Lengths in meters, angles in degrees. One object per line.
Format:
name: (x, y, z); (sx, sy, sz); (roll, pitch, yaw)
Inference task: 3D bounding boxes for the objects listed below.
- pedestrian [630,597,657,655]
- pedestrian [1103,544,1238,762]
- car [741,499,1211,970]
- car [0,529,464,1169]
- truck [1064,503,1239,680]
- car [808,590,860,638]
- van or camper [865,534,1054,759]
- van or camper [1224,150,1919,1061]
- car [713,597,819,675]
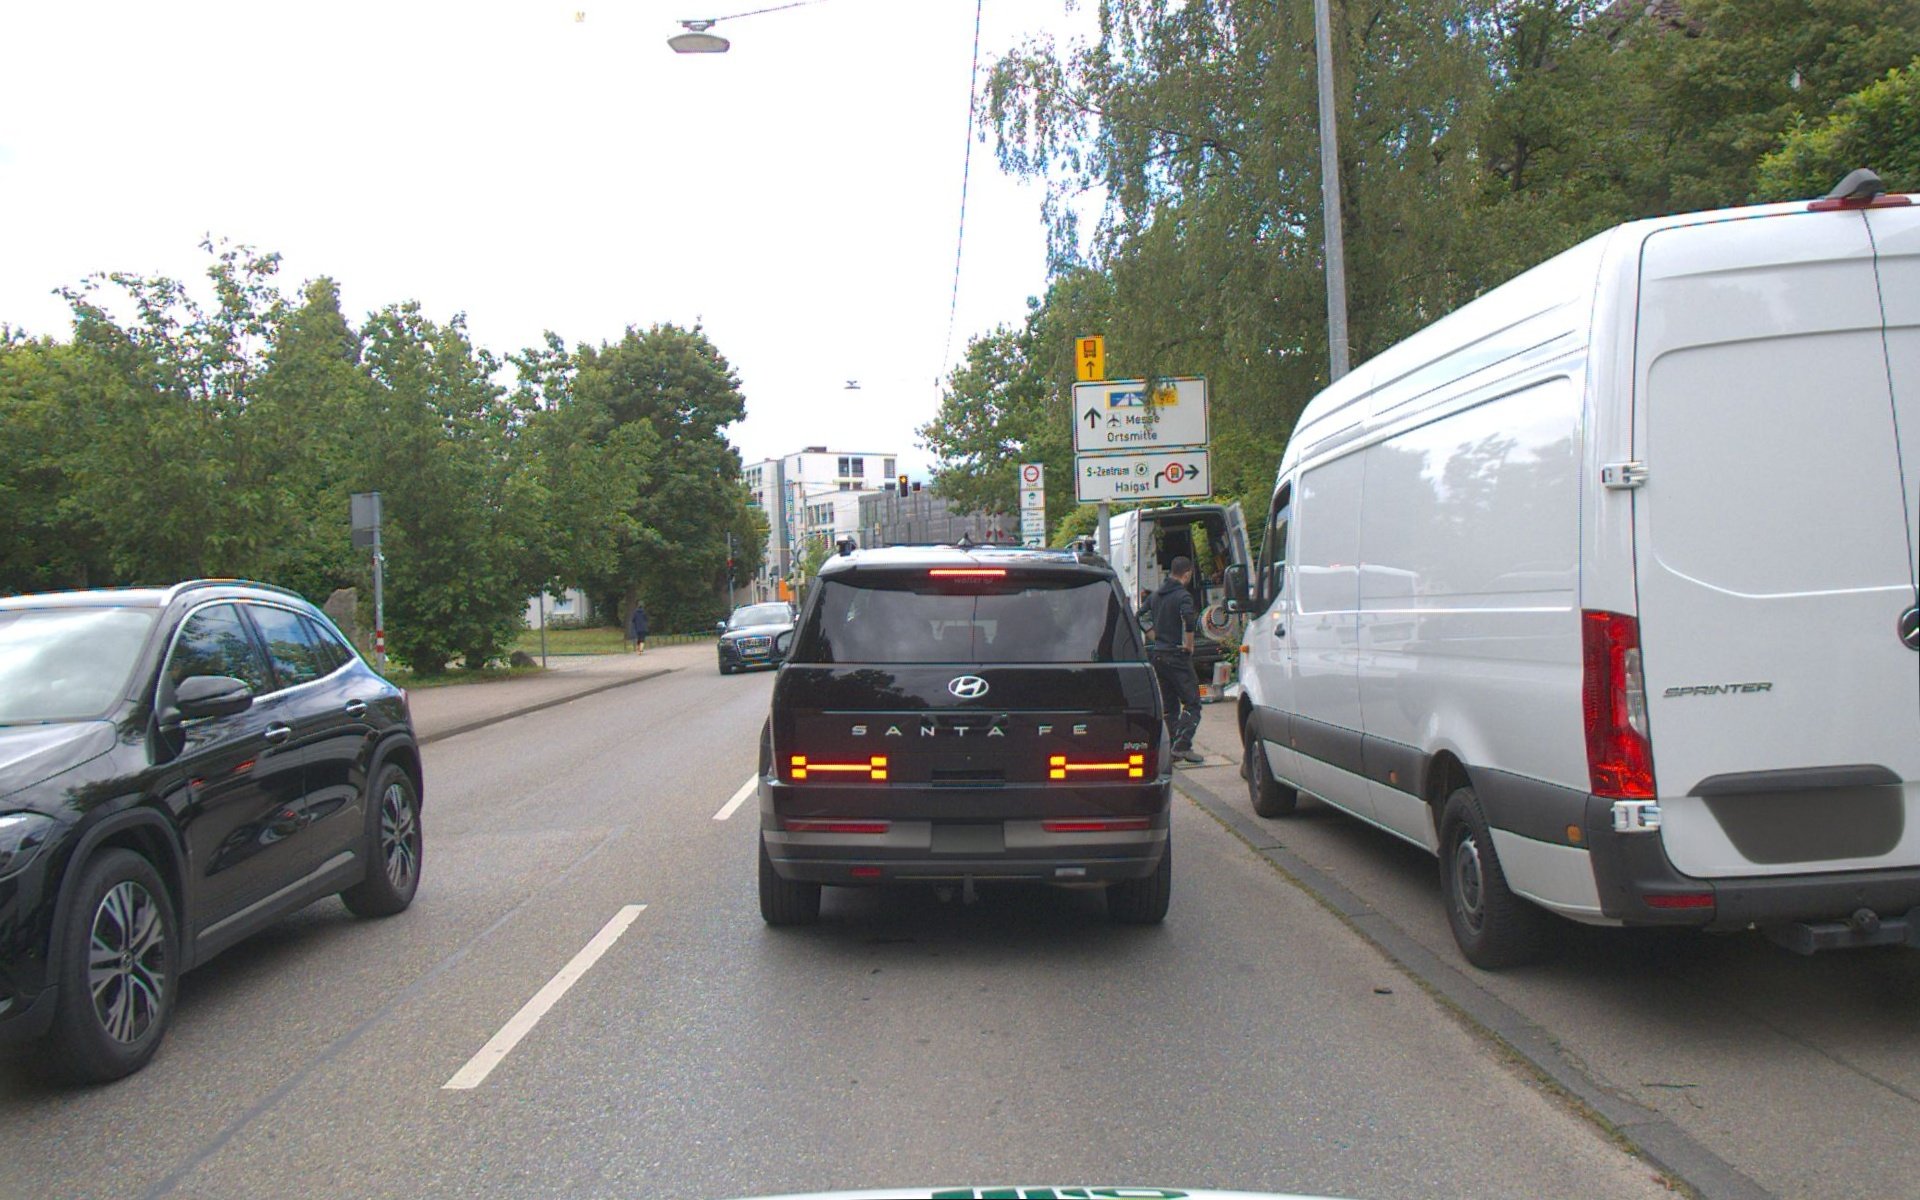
pedestrian: (-9.682, 0.794, 50.567); (0.724, 1.745, 0.791); (-2, 0, -8)
pedestrian: (1.838, 0.441, 14.463); (0.865, 1.828, 0.748); (-2, 0, -41)
car: (0.037, 0.520, 8.536); (1.851, 1.851, 3.999); (0, 0, -1)
car: (-3.506, 0.708, 6.390); (1.822, 1.686, 4.305); (-4, 0, -1)
truck: (3.112, -0.126, 28.021); (1.904, 2.606, 5.212); (-3, 0, -4)
car: (-4.905, 0.509, 64.734); (1.749, 1.682, 4.118); (-4, 0, -2)
van or camper: (-0.033, 0.424, 17.480); (1.719, 2.049, 3.999); (-2, 0, -1)
van or camper: (2.889, -0.015, 8.175); (1.953, 2.665, 6.540); (-2, 0, -1)
car: (-4.214, 0.750, 36.549); (1.822, 1.478, 4.110); (-4, 0, -1)
